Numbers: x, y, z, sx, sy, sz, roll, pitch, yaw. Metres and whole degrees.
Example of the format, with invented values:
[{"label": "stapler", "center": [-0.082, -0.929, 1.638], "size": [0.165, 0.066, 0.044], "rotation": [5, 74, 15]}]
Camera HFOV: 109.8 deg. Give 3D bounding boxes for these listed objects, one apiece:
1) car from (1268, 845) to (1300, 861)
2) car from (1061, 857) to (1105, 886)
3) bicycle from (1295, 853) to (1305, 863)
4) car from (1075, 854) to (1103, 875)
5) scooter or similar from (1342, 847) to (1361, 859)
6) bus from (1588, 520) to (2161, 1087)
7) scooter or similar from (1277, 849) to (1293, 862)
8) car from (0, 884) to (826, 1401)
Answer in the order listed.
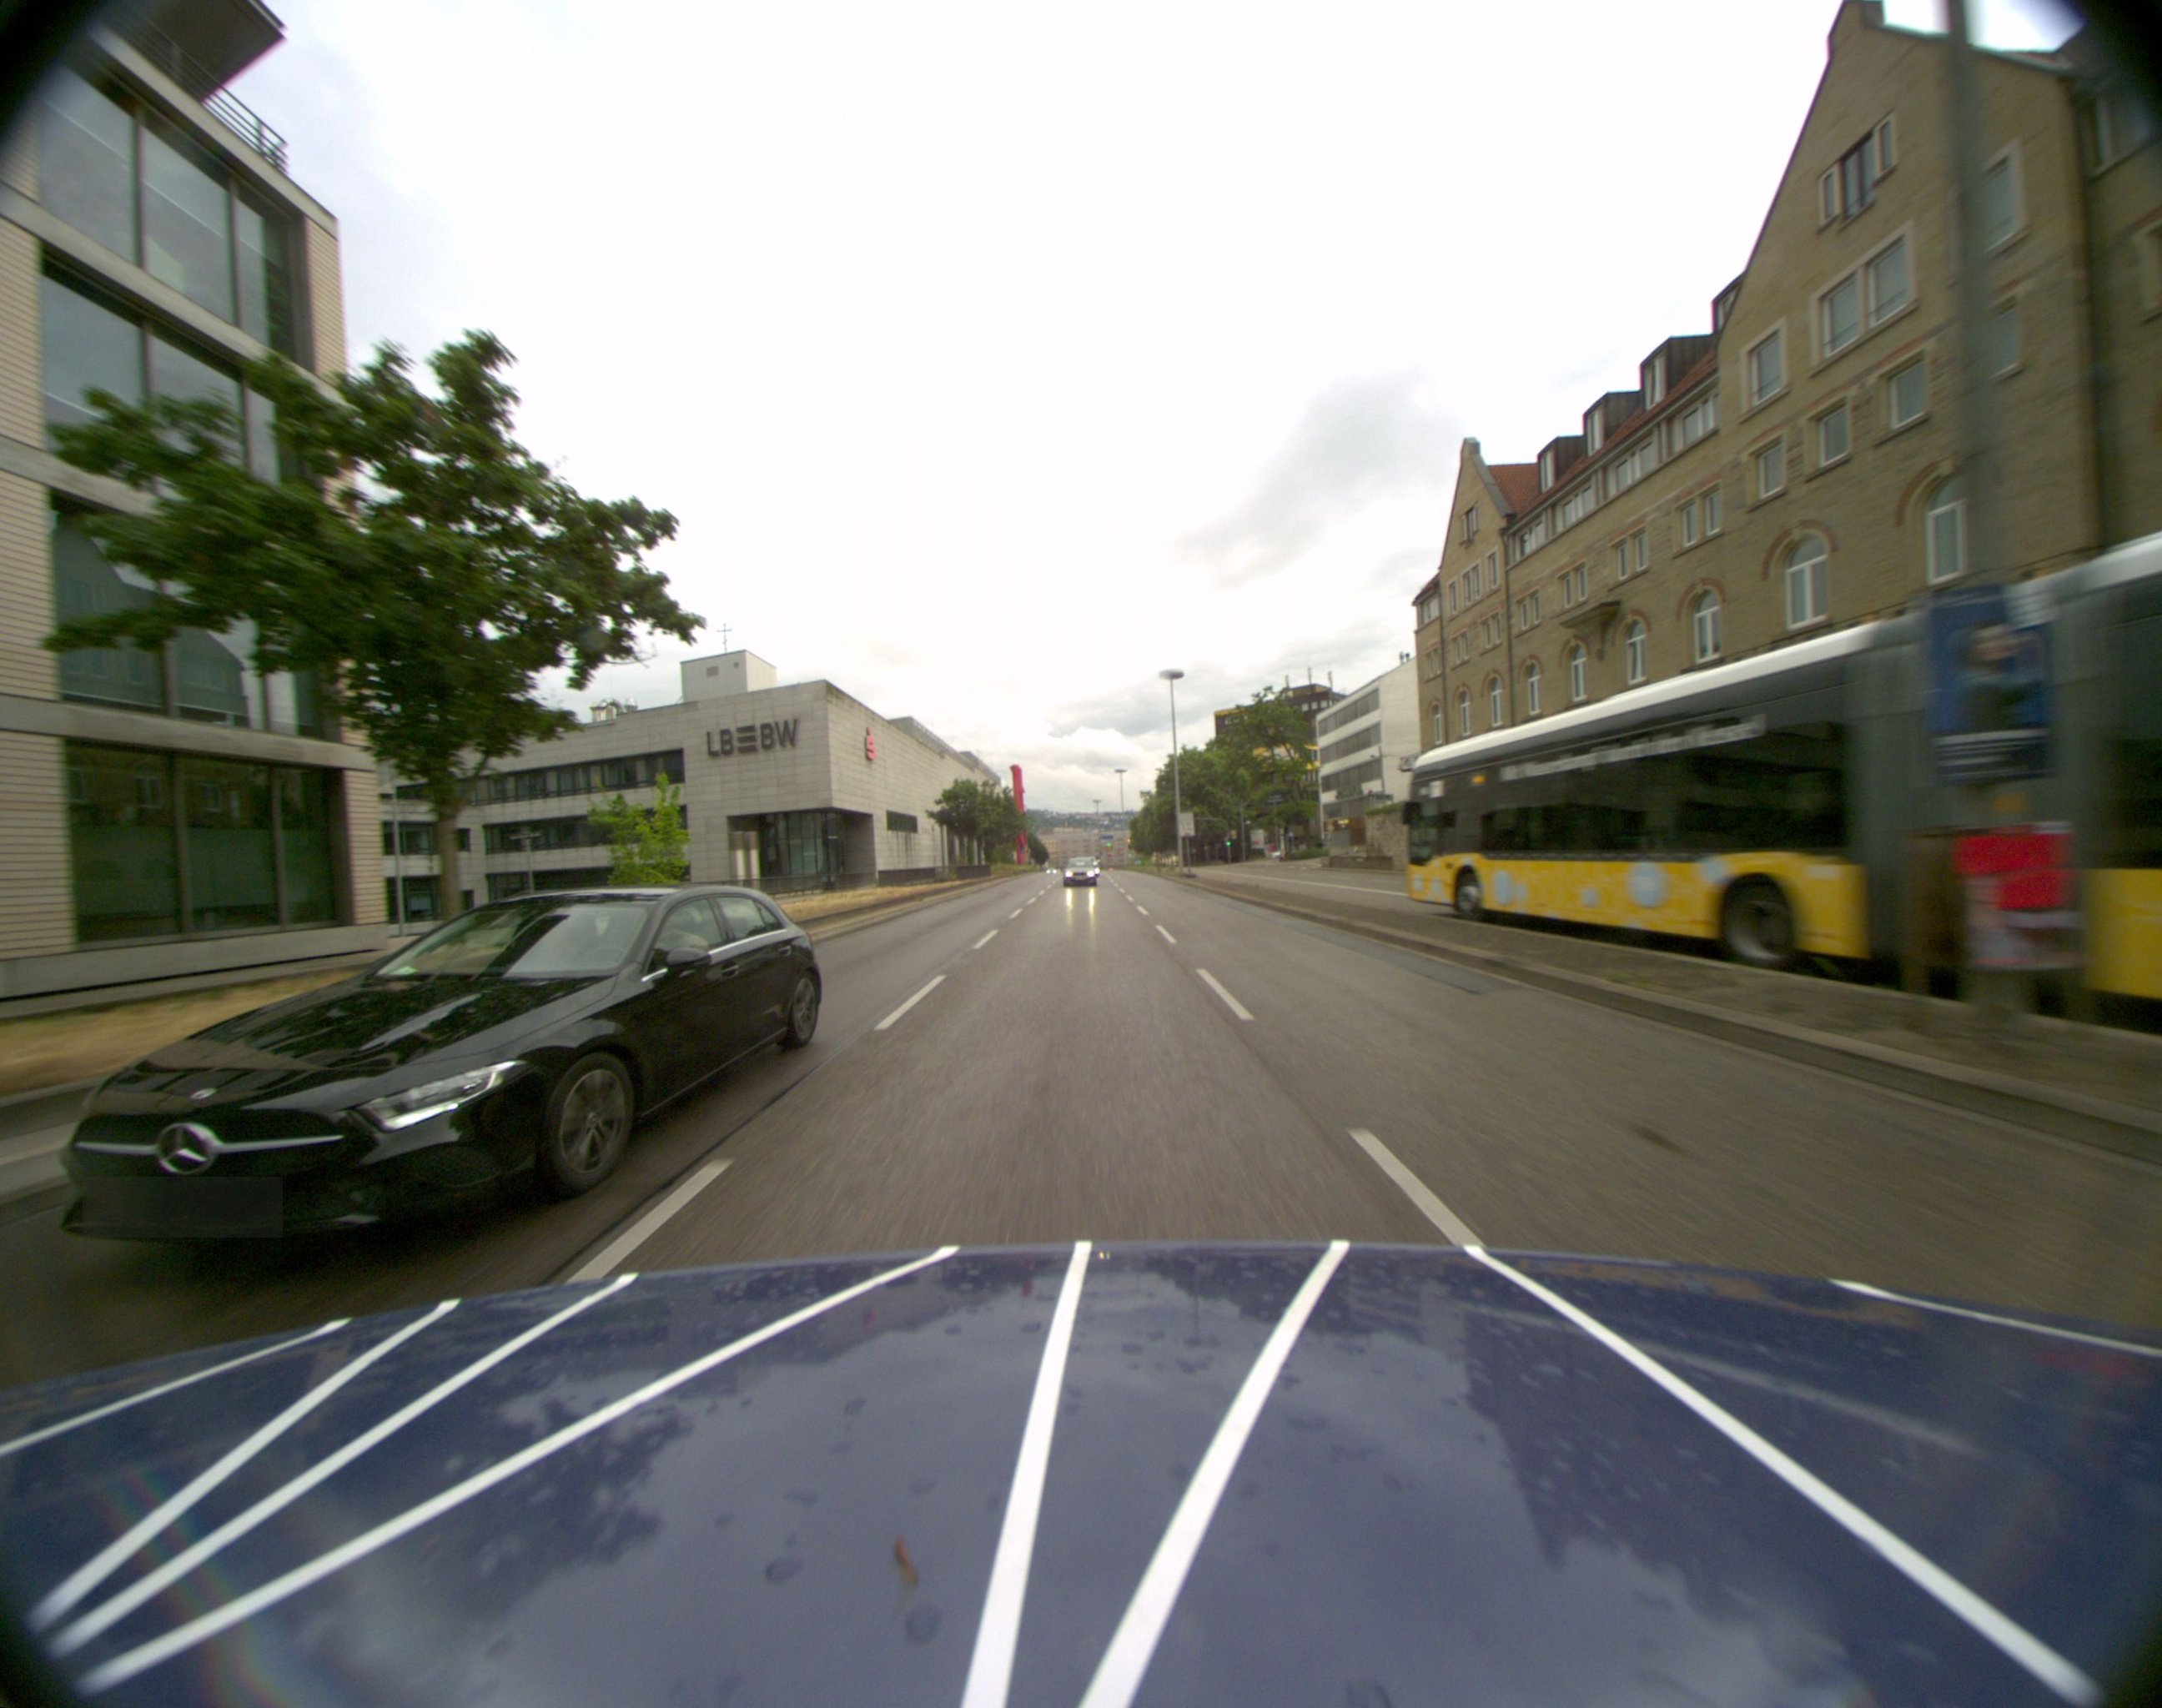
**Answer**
[{"label": "car", "center": [25.126, -0.111, 93.994], "size": [1.995, 1.644, 4.852], "rotation": [-4, 0, 39]}, {"label": "car", "center": [0.167, 0.906, 39.809], "size": [1.862, 1.428, 4.208], "rotation": [0, -1, 6]}, {"label": "bicycle", "center": [21.623, 0.381, 75.084], "size": [0.458, 0.985, 1.758], "rotation": [-2, -1, 1]}, {"label": "car", "center": [0.622, 0.719, 55.800], "size": [1.863, 1.449, 4.206], "rotation": [-2, 0, 2]}, {"label": "scooter or similar", "center": [25.216, -0.113, 70.811], "size": [1.473, 0.916, 0.444], "rotation": [-7, -1, -2]}, {"label": "bus", "center": [8.103, -0.330, 5.059], "size": [2.705, 3.538, 10.093], "rotation": [-1, 0, 0]}, {"label": "scooter or similar", "center": [21.252, 0.165, 79.256], "size": [1.758, 1.240, 0.369], "rotation": [-5, 1, -29]}, {"label": "car", "center": [-3.193, 1.026, 4.544], "size": [1.877, 1.428, 4.204], "rotation": [-2, 1, 0]}]
